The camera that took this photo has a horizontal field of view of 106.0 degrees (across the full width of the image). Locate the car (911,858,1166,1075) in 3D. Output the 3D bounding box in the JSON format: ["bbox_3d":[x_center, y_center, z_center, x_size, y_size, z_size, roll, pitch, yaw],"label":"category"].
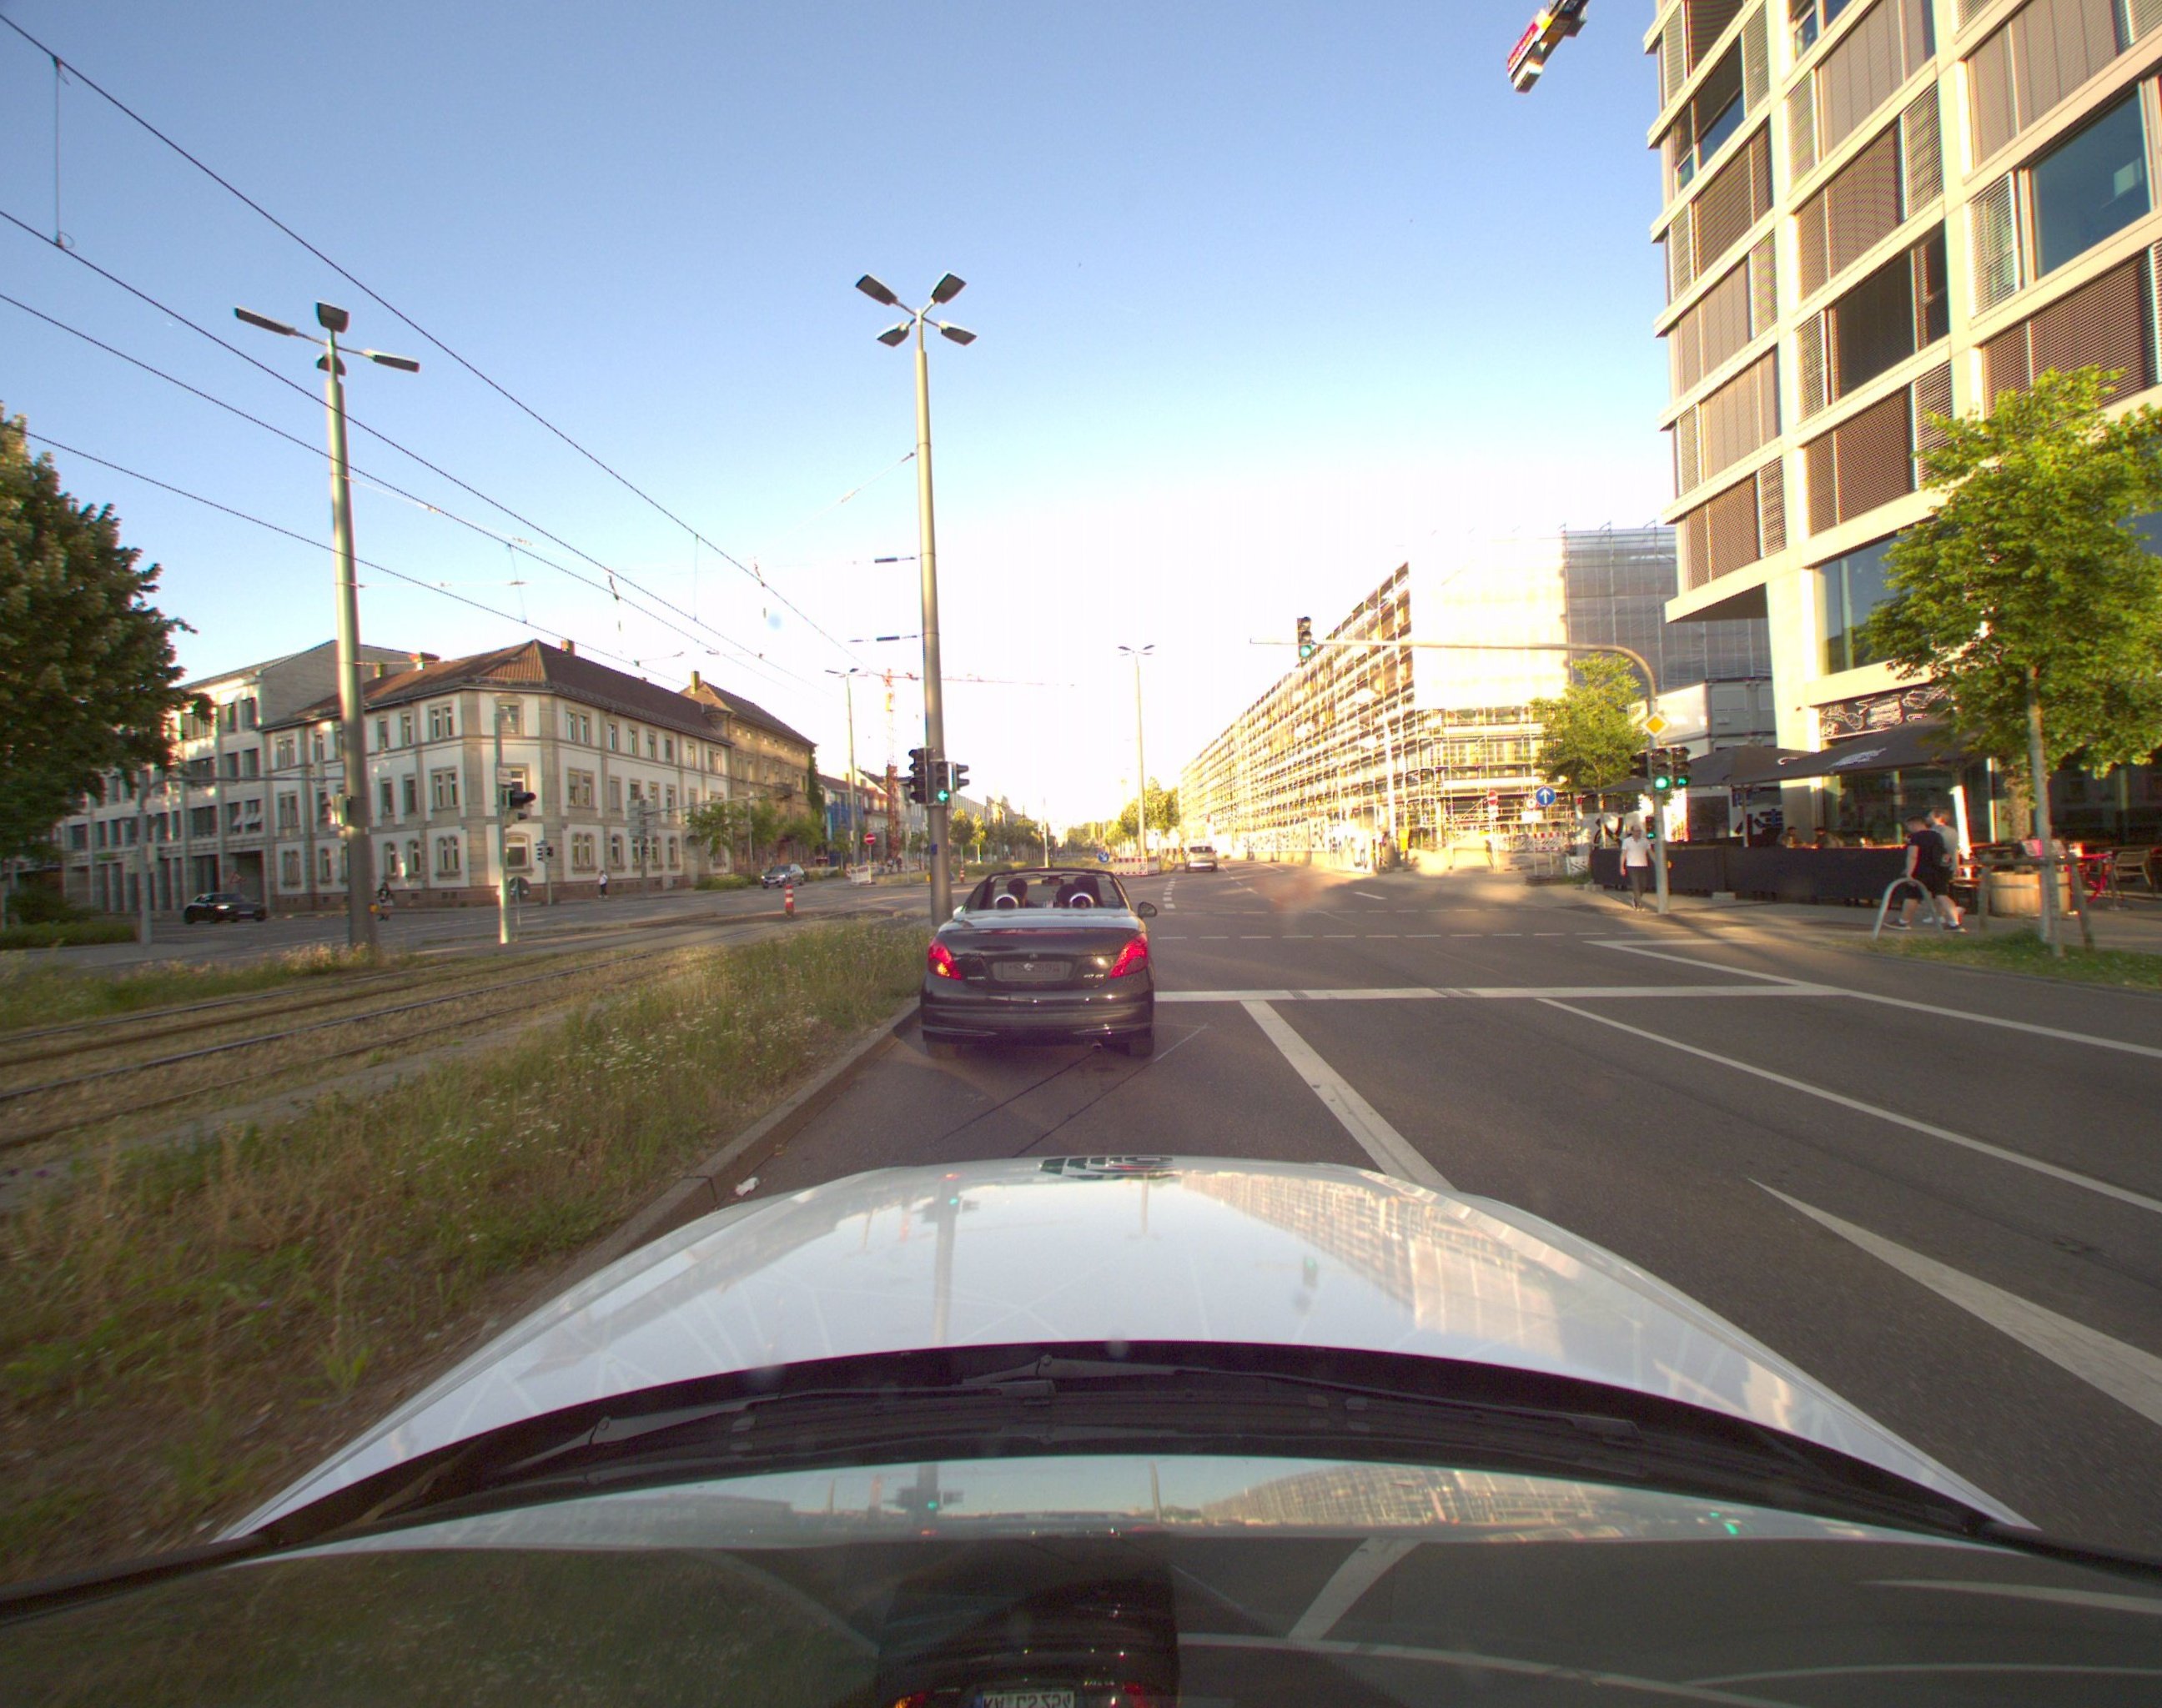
[{"bbox_3d":[-0.231,0.760,7.416,1.668,1.352,4.001,-1,0,1],"label":"car"}]

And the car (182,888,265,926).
[{"bbox_3d":[-40.798,2.467,38.732,3.949,1.555,1.801,0,0,30],"label":"car"}]

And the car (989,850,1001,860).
[{"bbox_3d":[-16.091,0.163,153.046,1.651,1.964,4.269,0,0,2],"label":"car"}]

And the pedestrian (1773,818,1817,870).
[{"bbox_3d":[18.922,-0.264,21.589,0.608,1.319,0.624,-5,0,18],"label":"pedestrian"}]

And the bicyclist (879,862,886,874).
[{"bbox_3d":[-21.332,1.504,87.541,0.587,1.266,0.460,0,0,1],"label":"bicyclist"}]

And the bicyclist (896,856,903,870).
[{"bbox_3d":[-20.246,1.010,91.003,0.587,1.569,0.711,0,0,2],"label":"bicyclist"}]

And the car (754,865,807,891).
[{"bbox_3d":[-21.132,1.664,57.480,1.986,1.580,4.125,-4,0,1],"label":"car"}]

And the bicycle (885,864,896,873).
[{"bbox_3d":[-21.292,1.610,91.093,0.769,0.945,1.640,0,0,2],"label":"bicycle"}]

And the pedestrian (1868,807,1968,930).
[{"bbox_3d":[12.256,0.201,11.945,0.651,1.702,0.689,-4,0,0],"label":"pedestrian"}]

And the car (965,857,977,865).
[{"bbox_3d":[-20.634,1.217,153.062,1.651,1.431,3.897,0,0,2],"label":"car"}]

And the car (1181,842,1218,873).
[{"bbox_3d":[6.947,0.167,48.205,1.826,1.672,4.288,-1,0,4],"label":"car"}]

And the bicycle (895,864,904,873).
[{"bbox_3d":[-20.244,1.584,91.004,0.587,0.975,1.557,0,0,2],"label":"bicycle"}]

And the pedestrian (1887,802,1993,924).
[{"bbox_3d":[12.970,0.131,12.318,0.683,1.734,0.761,-5,0,0],"label":"pedestrian"}]

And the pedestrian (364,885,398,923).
[{"bbox_3d":[-28.420,2.019,33.089,0.602,1.458,0.934,0,0,-5],"label":"pedestrian"}]

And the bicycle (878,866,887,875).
[{"bbox_3d":[-21.332,1.770,87.540,0.587,0.989,1.557,0,0,2],"label":"bicycle"}]

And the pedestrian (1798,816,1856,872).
[{"bbox_3d":[18.959,-0.257,20.714,0.740,1.319,0.717,-5,0,13],"label":"pedestrian"}]

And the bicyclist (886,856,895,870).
[{"bbox_3d":[-21.293,1.005,91.092,0.769,1.570,0.793,0,0,2],"label":"bicyclist"}]

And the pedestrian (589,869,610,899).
[{"bbox_3d":[-28.427,1.780,48.108,0.697,1.715,0.815,0,0,11],"label":"pedestrian"}]

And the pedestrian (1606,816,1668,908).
[{"bbox_3d":[11.683,0.163,17.136,0.766,1.847,0.678,-3,0,0],"label":"pedestrian"}]
